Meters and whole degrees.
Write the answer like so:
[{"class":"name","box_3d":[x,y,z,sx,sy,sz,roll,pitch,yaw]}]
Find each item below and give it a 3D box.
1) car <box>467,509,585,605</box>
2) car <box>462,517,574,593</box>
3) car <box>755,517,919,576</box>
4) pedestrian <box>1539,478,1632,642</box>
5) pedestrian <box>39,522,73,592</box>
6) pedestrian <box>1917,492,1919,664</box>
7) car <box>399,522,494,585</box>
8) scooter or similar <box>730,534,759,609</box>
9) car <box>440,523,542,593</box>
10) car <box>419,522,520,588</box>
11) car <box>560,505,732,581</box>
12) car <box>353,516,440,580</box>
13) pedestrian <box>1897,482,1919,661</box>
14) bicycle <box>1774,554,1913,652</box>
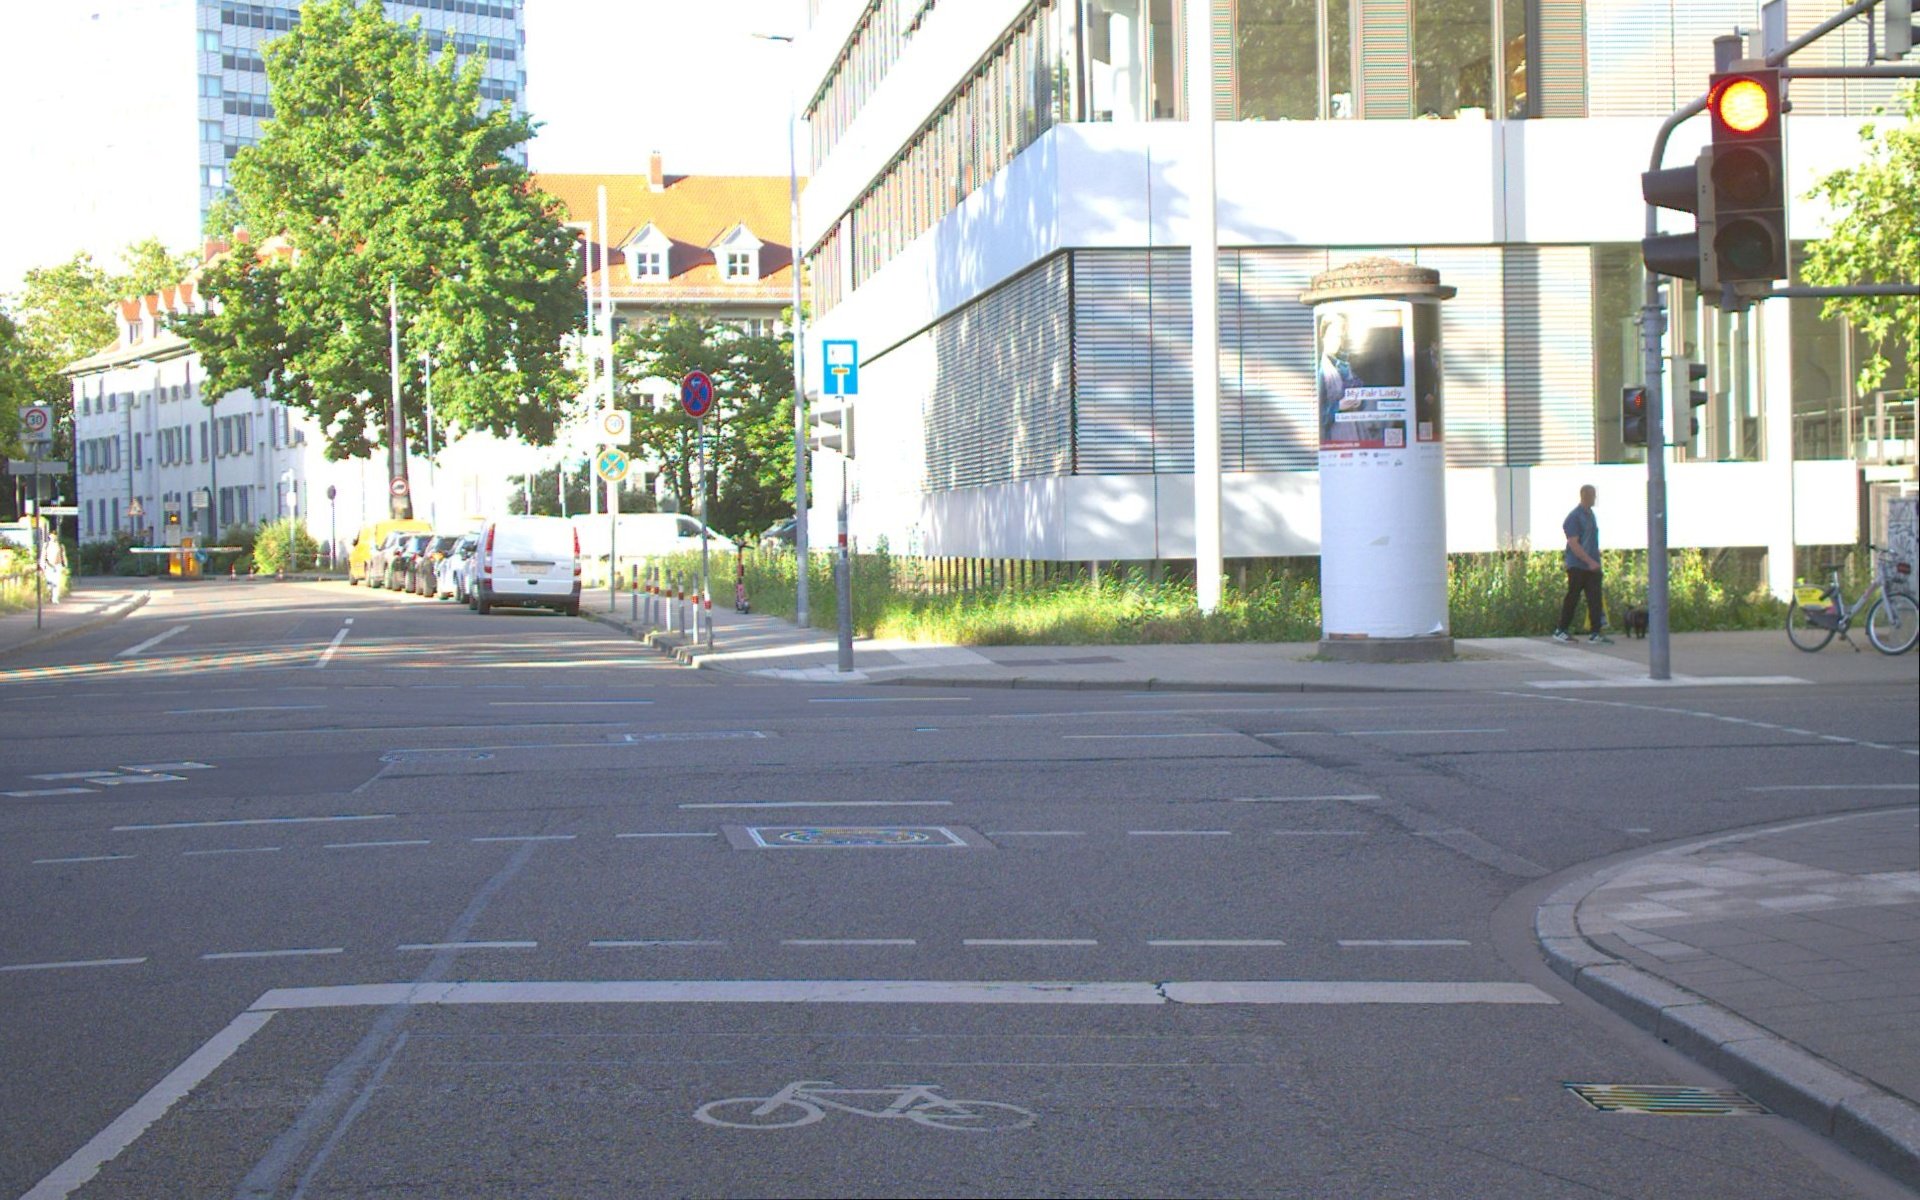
[{"class":"car","box_3d":[-8.217,-0.814,64.841,1.993,1.719,4.653,1,1,-10]},{"class":"car","box_3d":[-9.169,-0.932,71.054,1.993,1.493,4.653,1,1,-11]},{"class":"car","box_3d":[-3.752,-1.624,104.793,4.635,1.719,2.001,1,0,-16]},{"class":"pedestrian","box_3d":[6.996,-0.447,38.429,0.915,1.809,0.761,1,0,17]},{"class":"pedestrian","box_3d":[-20.429,-0.970,77.679,0.699,1.581,0.637,1,0,-16]},{"class":"pedestrian","box_3d":[9.927,-0.215,33.960,0.765,1.713,0.648,1,0,2]},{"class":"car","box_3d":[-12.877,-1.160,85.997,1.993,1.493,4.653,1,1,-13]},{"class":"scooter or similar","box_3d":[-3.657,-0.489,58.310,0.437,1.252,1.420,-1,1,-4]},{"class":"car","box_3d":[-10.502,-0.932,76.826,1.993,1.493,4.653,1,1,-11]},{"class":"car","box_3d":[-11.624,-1.057,81.273,1.993,1.493,4.288,1,1,-13]},{"class":"car","box_3d":[-9.399,-1.697,102.949,4.791,2.151,2.001,1,0,-17]},{"class":"car","box_3d":[-15.735,-1.447,95.853,1.993,1.719,4.653,1,1,-14]},{"class":"pedestrian","box_3d":[9.928,-0.279,34.680,0.765,1.789,0.648,1,0,2]},{"class":"bicycle","box_3d":[9.286,0.021,36.166,0.378,1.005,1.432,-2,2,-42]}]
